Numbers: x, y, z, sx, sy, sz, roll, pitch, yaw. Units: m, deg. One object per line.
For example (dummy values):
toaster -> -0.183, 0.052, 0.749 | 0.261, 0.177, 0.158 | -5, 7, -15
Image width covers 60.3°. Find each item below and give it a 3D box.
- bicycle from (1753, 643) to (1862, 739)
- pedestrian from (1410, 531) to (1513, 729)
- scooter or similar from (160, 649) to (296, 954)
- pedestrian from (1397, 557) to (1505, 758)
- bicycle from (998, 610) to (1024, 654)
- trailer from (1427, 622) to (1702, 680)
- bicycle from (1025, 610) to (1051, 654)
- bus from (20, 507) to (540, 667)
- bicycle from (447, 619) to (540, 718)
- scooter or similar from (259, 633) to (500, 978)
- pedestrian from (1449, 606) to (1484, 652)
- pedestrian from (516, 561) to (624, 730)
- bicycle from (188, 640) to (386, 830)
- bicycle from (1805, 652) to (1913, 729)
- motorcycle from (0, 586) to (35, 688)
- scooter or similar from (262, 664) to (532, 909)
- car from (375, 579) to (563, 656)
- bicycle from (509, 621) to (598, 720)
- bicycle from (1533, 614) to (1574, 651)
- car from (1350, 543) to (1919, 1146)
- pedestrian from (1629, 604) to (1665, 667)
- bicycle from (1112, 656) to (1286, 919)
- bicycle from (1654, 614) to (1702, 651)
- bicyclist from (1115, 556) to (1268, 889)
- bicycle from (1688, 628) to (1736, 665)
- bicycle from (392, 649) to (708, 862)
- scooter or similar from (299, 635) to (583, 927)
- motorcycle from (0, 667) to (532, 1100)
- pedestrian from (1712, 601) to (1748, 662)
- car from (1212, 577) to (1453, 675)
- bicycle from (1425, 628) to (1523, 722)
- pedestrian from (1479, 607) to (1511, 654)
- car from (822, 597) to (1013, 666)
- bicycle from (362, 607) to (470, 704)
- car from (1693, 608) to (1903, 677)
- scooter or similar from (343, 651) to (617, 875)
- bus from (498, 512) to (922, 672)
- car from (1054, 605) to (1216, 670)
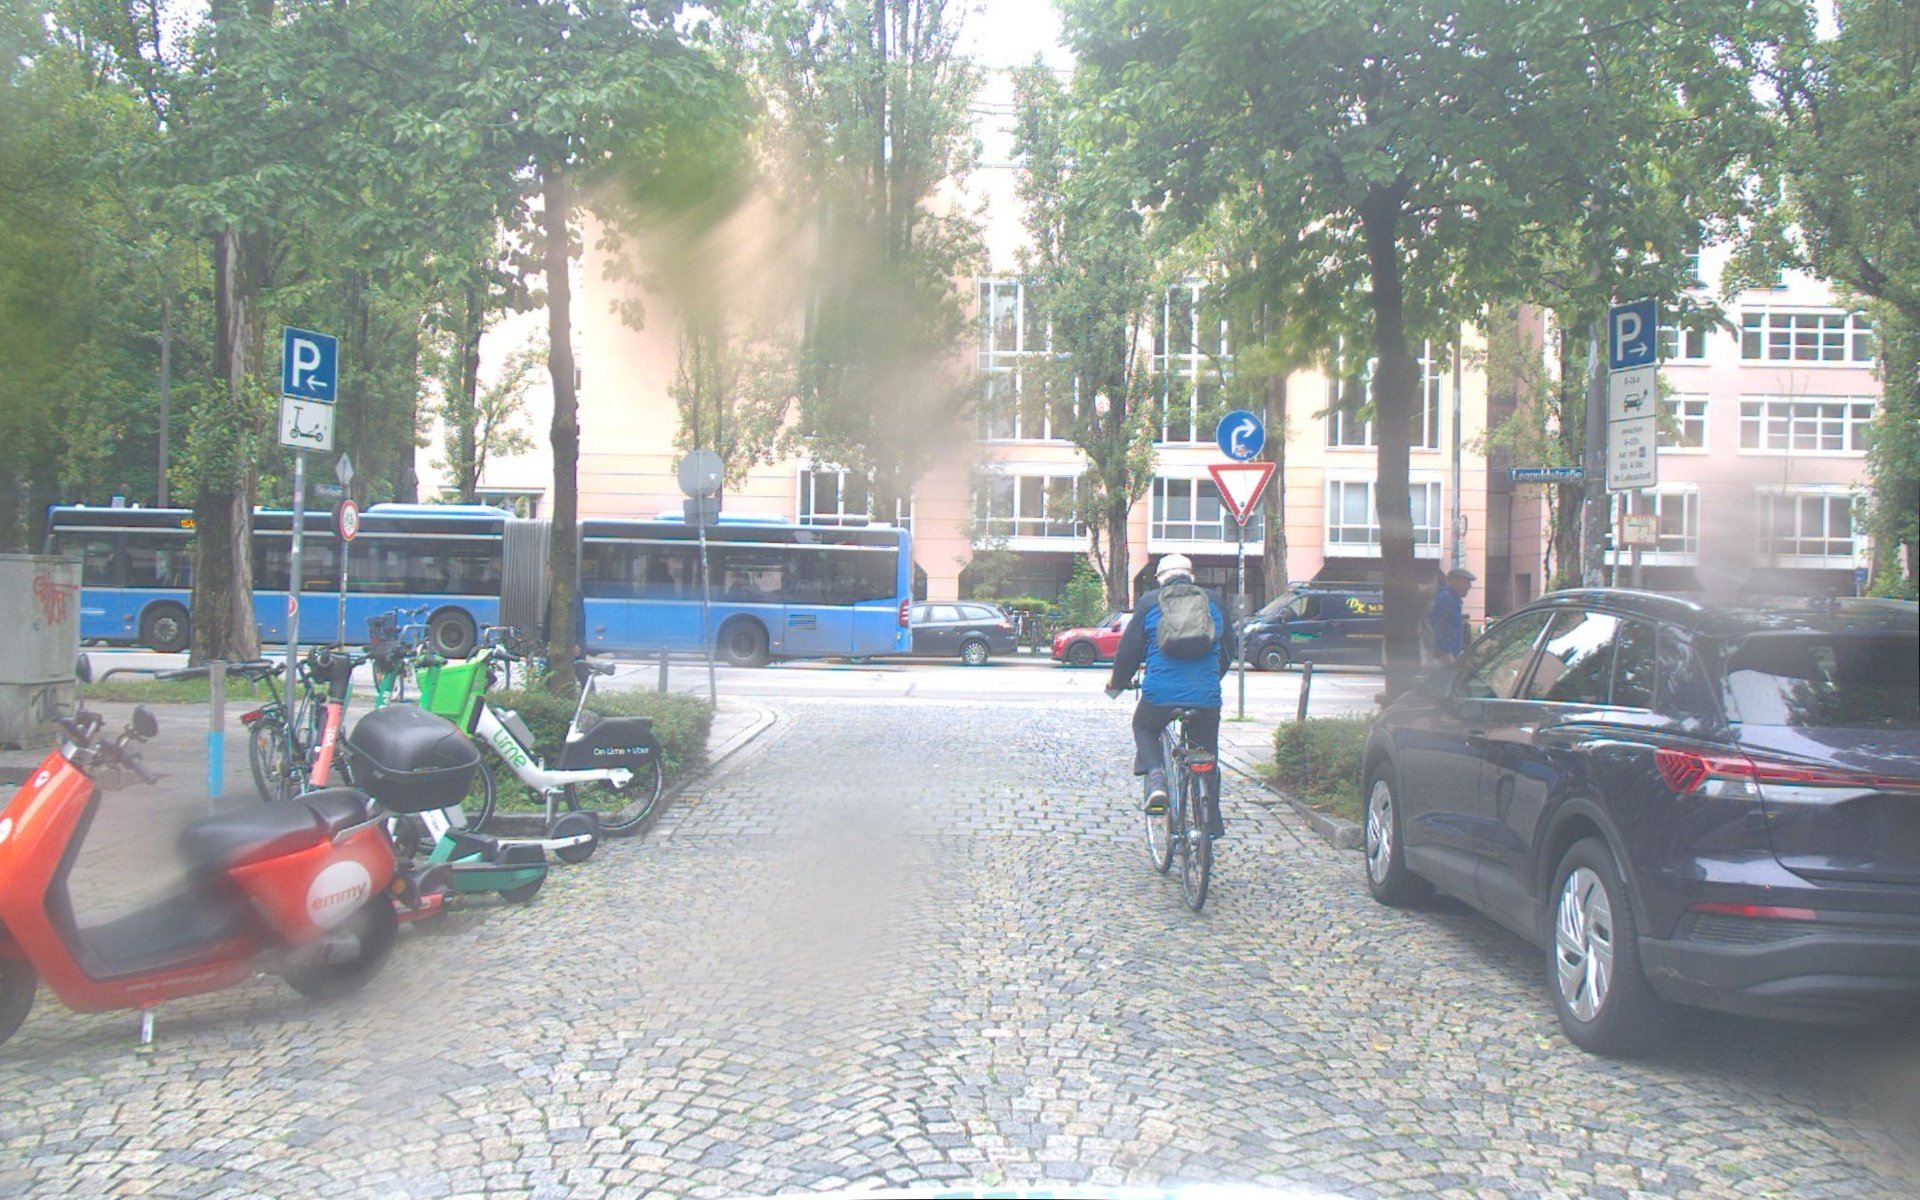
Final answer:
bicycle -> 10.053, 1.056, 19.676 | 0.501, 1.056, 1.834 | 1, -1, 6
pedestrian -> 4.509, 0.260, 14.909 | 0.786, 1.726, 0.664 | 1, 0, 10
scooter or similar -> -3.293, 0.845, 7.402 | 0.385, 1.200, 1.238 | 1, 0, -31
pedestrian -> 4.292, 0.488, 14.501 | 0.825, 1.709, 0.611 | 1, 0, 10
bicycle -> 1.358, 0.848, 44.431 | 0.660, 1.144, 1.742 | 1, 0, 1
trailer -> 14.557, 1.212, 40.104 | 5.787, 1.220, 2.405 | 1, 0, 1
bicycle -> 2.083, 0.851, 44.421 | 0.660, 1.144, 1.742 | 1, 0, 1
bus -> -13.935, -0.266, 34.449 | 9.563, 3.105, 2.927 | 1, 0, 0
bicycle -> -5.623, 0.806, 20.009 | 0.479, 1.112, 1.704 | 1, 0, 6
scooter or similar -> -2.432, 0.805, 7.064 | 0.319, 1.295, 1.359 | 1, 0, 10
pedestrian -> 15.351, 0.875, 50.109 | 0.699, 1.393, 0.725 | 1, 0, -28
pedestrian -> -4.091, 0.467, 17.423 | 0.936, 1.741, 0.858 | 0, 0, -1
bicycle -> -4.186, 0.799, 10.413 | 0.541, 1.040, 1.762 | 1, 0, -1
bicycle -> 10.751, 1.066, 19.835 | 0.460, 0.832, 1.834 | 1, -1, 6
motorcycle -> -12.141, 0.441, 19.591 | 1.975, 1.217, 0.619 | 0, 0, -44
scooter or similar -> -2.803, 0.918, 8.273 | 1.221, 1.164, 0.327 | 1, 0, 0
car -> -11.820, 0.441, 40.024 | 3.982, 1.762, 1.793 | 1, -1, -1
bicycle -> -4.859, 0.817, 19.842 | 0.479, 1.112, 1.704 | 1, 0, 6
bicycle -> 19.133, 1.029, 53.336 | 0.660, 1.144, 1.989 | 1, 0, 1
car -> 3.130, 0.722, 6.901 | 1.881, 1.730, 4.200 | 2, 0, -1
pedestrian -> 19.521, 1.006, 47.019 | 0.714, 1.743, 0.709 | 1, 0, 1
bicycle -> 1.202, 0.905, 8.669 | 0.702, 1.168, 1.901 | 1, -1, 2
bicycle -> 23.131, 1.036, 53.313 | 0.660, 1.144, 2.107 | 1, 0, 1
bicyclist -> 1.190, 0.609, 8.639 | 0.707, 1.647, 0.757 | 1, 0, 3
bicycle -> 24.224, 1.483, 53.319 | 0.660, 1.144, 1.989 | 1, 0, 1
bicycle -> -2.428, 0.883, 9.880 | 1.739, 1.163, 0.548 | 1, 0, -31
scooter or similar -> -2.452, 0.821, 7.862 | 1.234, 1.295, 0.324 | 1, 0, -31
motorcycle -> -2.550, 0.871, 5.678 | 1.975, 1.217, 0.759 | 1, 0, -44
pedestrian -> 22.531, 0.915, 48.379 | 0.714, 1.743, 0.709 | 1, 0, 1
car -> 8.957, 0.614, 40.100 | 5.366, 2.235, 2.024 | 1, 0, 1
bicycle -> 6.217, 0.884, 20.076 | 0.465, 1.069, 1.874 | 1, -1, -5
pedestrian -> 16.146, 0.909, 49.936 | 0.714, 1.393, 0.709 | 1, 0, 1
car -> -0.984, 0.751, 40.150 | 4.513, 1.555, 1.794 | 1, 0, 1
bicycle -> -6.629, 0.649, 20.263 | 0.479, 1.112, 1.985 | 1, 0, 6
car -> 20.038, 1.018, 39.674 | 4.132, 1.569, 1.807 | 1, -1, 2
scooter or similar -> -2.641, 0.871, 9.135 | 1.407, 1.164, 0.367 | 1, 0, -24
bus -> -5.024, -0.168, 34.432 | 8.314, 3.105, 2.927 | 1, 0, 1
car -> 4.184, 0.888, 39.893 | 3.780, 1.474, 1.679 | 1, 0, 3
